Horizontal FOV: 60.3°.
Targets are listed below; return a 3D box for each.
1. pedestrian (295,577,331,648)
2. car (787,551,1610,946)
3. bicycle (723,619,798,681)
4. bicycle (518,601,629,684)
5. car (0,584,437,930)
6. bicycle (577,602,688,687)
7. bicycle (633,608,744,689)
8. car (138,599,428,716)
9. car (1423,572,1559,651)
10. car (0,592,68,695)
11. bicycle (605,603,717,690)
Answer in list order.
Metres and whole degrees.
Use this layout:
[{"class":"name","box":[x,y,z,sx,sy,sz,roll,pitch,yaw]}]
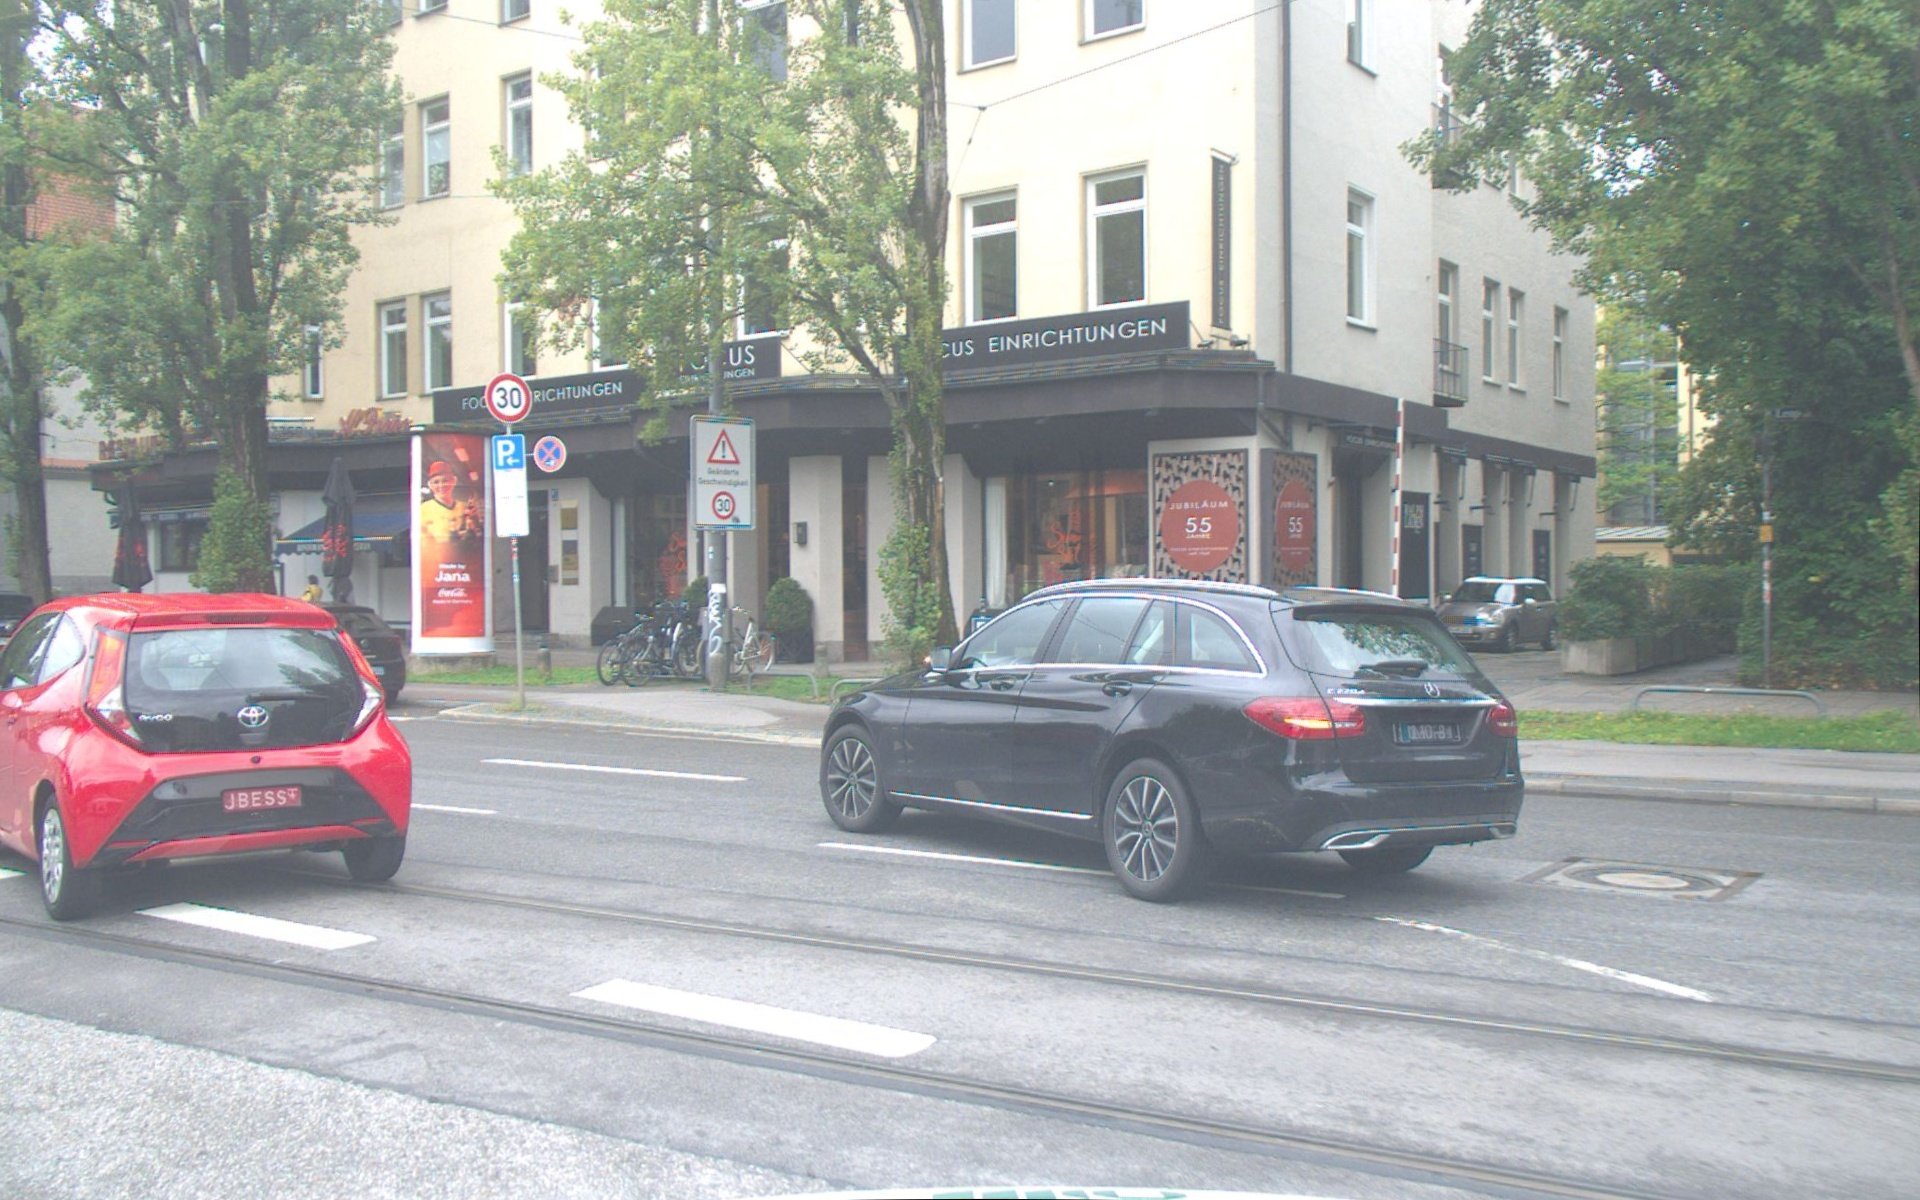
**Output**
[{"class":"pedestrian","box":[-14.582,0.272,37.257,0.486,1.589,0.572,2,1,36]},{"class":"car","box":[0.960,0.537,9.054,1.847,1.576,4.648,-1,2,-34]},{"class":"bicycle","box":[-3.107,0.765,25.833,0.380,0.899,1.368,0,1,32]},{"class":"bicycle","box":[-6.015,0.639,25.843,0.486,1.205,1.884,0,1,32]},{"class":"car","box":[-4.240,0.673,8.824,1.619,1.465,3.327,0,-1,-40]},{"class":"bicycle","box":[-4.938,0.652,25.056,0.486,1.205,1.884,0,1,32]},{"class":"bicycle","box":[-3.974,0.695,24.331,0.486,1.100,1.884,0,1,32]},{"class":"car","box":[-9.433,0.741,22.995,3.914,1.491,1.801,0,0,32]},{"class":"car","box":[10.682,0.194,33.113,1.694,1.467,3.991,0,1,31]},{"class":"car","box":[-17.112,0.712,28.035,4.379,1.640,1.721,0,1,35]},{"class":"bicycle","box":[-4.422,0.673,24.590,0.486,1.205,1.884,0,1,32]}]
